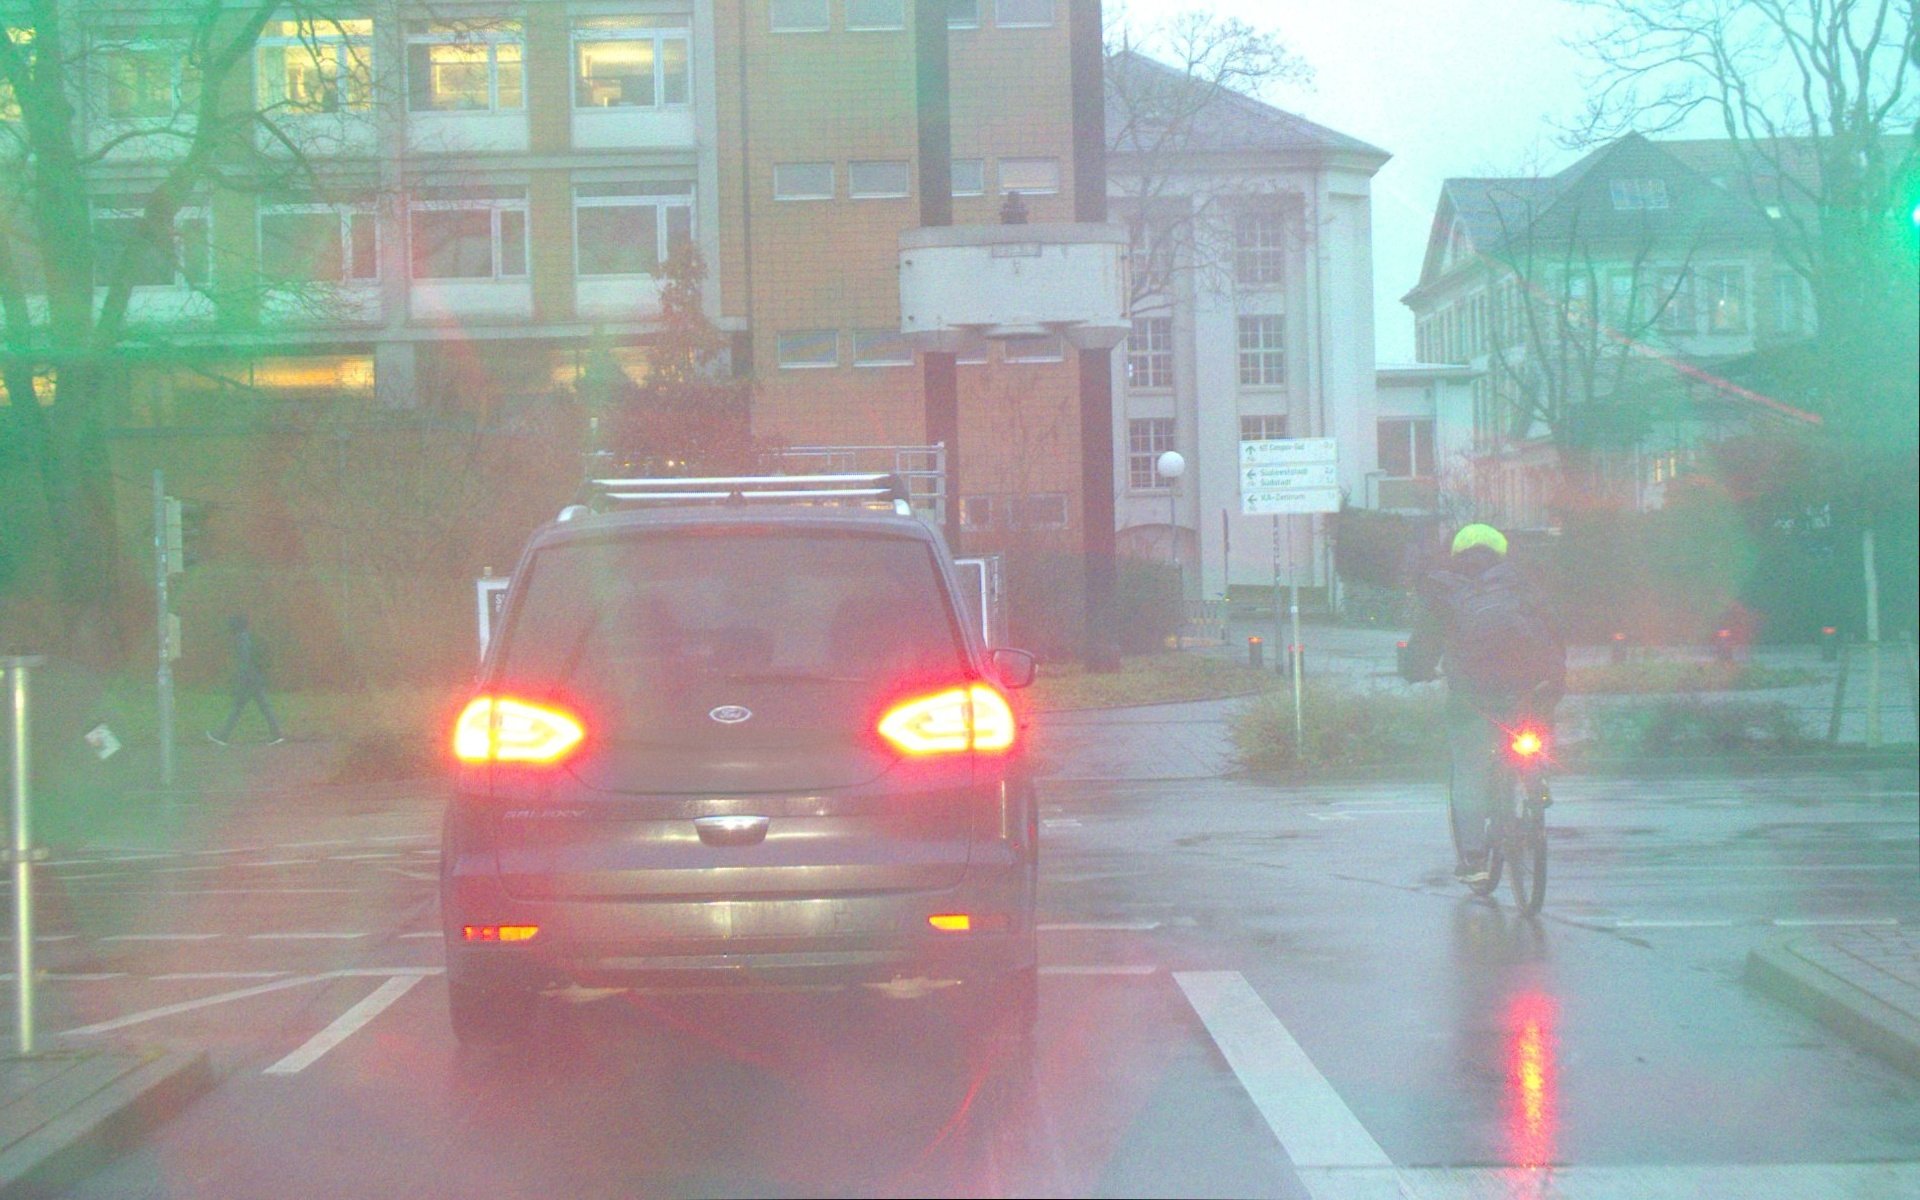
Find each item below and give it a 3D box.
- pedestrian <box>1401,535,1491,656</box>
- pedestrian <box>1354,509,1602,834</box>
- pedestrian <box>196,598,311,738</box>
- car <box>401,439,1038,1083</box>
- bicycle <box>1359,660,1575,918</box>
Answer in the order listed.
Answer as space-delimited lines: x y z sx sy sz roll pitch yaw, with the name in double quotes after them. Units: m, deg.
6.955 -0.079 49.177 0.912 1.682 0.925 2 3 43 "pedestrian"
2.198 0.292 14.673 0.874 1.312 0.848 -2 1 -1 "pedestrian"
-8.898 0.854 43.319 1.068 1.682 0.809 -2 2 20 "pedestrian"
-0.717 0.471 11.942 1.778 1.794 4.424 -1 0 -1 "car"
2.138 0.770 14.726 0.561 0.943 2.095 -2 1 -1 "bicycle"
